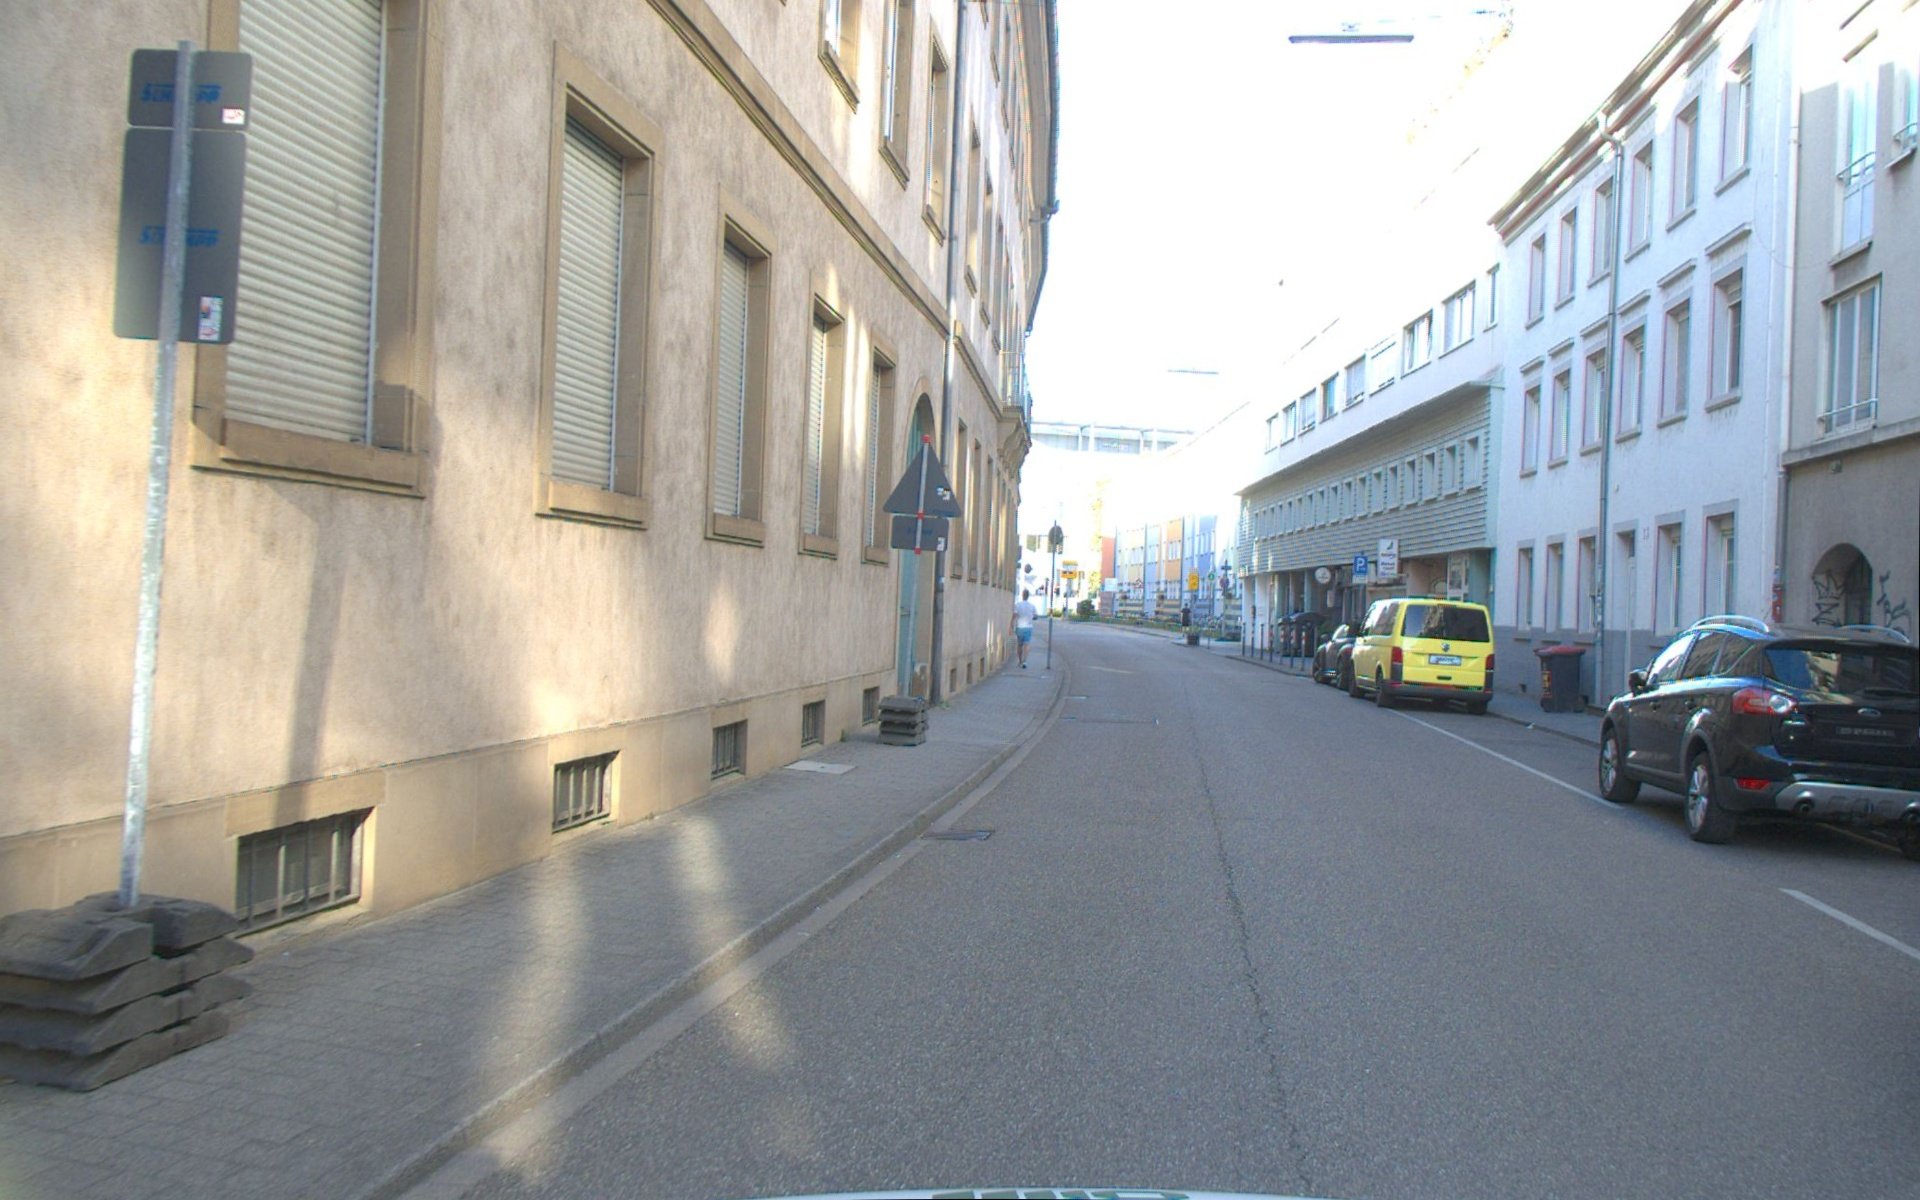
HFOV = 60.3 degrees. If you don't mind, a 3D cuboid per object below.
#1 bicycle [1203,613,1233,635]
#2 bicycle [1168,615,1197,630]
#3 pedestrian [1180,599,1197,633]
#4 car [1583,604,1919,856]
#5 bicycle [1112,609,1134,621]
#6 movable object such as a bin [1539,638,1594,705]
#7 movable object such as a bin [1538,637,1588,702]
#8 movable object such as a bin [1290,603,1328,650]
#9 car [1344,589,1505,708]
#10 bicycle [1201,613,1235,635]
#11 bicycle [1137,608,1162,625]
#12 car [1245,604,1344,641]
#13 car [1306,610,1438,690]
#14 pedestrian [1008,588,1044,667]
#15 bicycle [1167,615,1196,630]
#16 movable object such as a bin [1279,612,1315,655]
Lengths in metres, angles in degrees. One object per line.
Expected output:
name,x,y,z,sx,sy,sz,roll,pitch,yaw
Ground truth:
bicycle,14.283,1.311,91.589,1.610,1.161,0.283,-1,0,-9
bicycle,14.103,1.414,104.784,1.712,0.963,0.552,1,-1,-1
pedestrian,12.167,0.856,88.147,0.682,1.791,1.188,-1,0,0
car,6.645,0.925,13.742,1.786,1.683,4.497,3,0,9
bicycle,13.323,1.230,135.010,1.719,1.021,0.612,0,-1,-6
movable object such as a bin,10.279,1.201,28.049,0.613,1.069,0.708,-3,-1,0
movable object such as a bin,10.504,1.210,28.832,0.593,1.069,0.709,-3,-1,3
movable object such as a bin,11.470,0.894,54.383,0.961,1.506,1.551,0,-3,2
car,8.374,0.826,30.248,1.844,1.914,4.848,3,0,4
bicycle,14.057,1.311,90.175,1.713,1.161,0.552,-1,0,-1
bicycle,13.832,1.213,120.705,1.774,1.157,0.551,1,-1,-2
car,14.927,1.009,73.894,3.995,1.508,1.865,2,-1,-1
car,8.795,1.018,35.647,1.844,1.515,4.369,3,0,2
pedestrian,1.467,0.610,36.684,0.678,1.699,0.875,4,-1,4
bicycle,13.947,1.421,104.107,1.712,0.963,0.552,1,-1,-1
movable object such as a bin,11.409,1.148,56.012,0.961,1.409,1.321,0,-3,2
